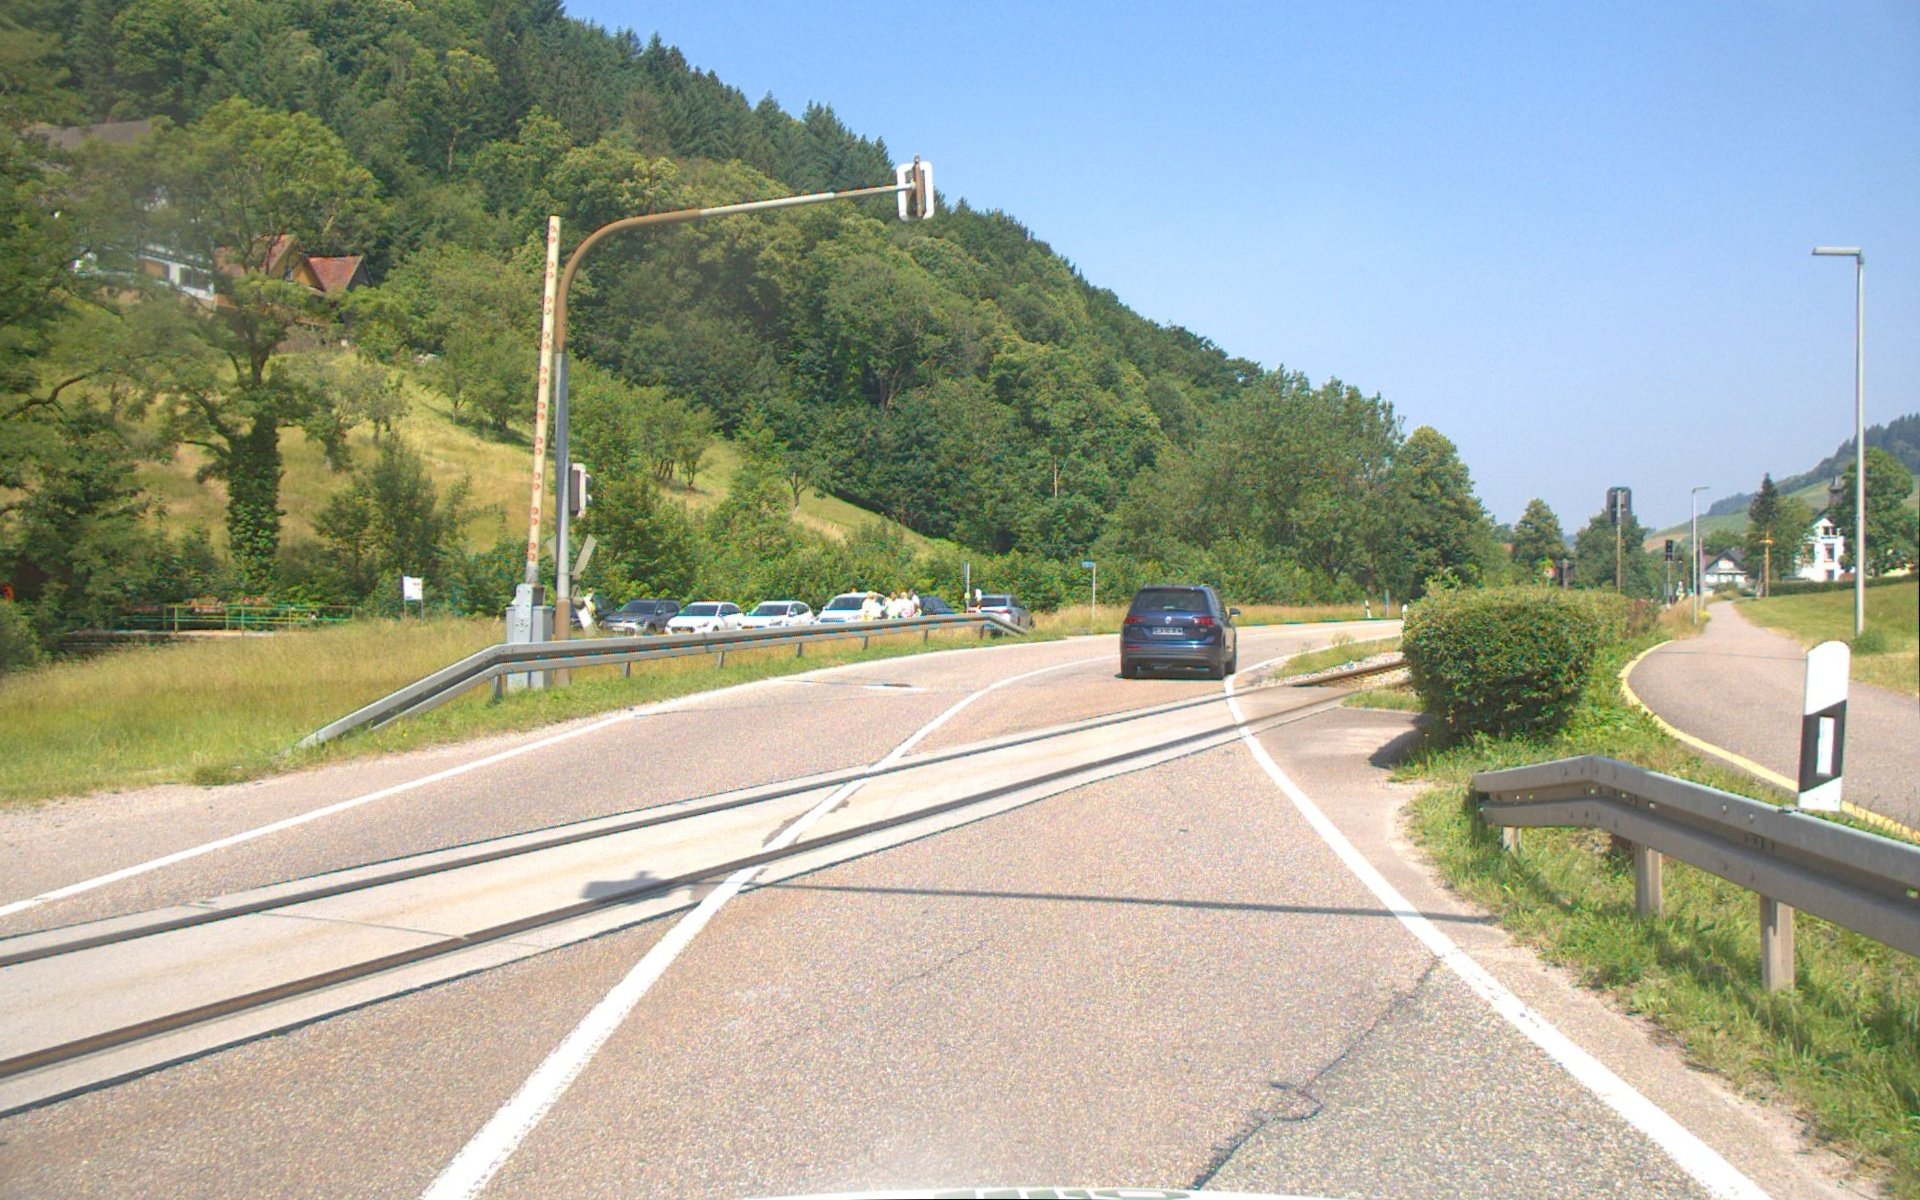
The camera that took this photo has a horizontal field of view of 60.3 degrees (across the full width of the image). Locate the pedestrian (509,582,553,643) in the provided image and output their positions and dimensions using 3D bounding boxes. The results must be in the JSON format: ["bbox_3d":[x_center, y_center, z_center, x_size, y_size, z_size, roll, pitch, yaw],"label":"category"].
[{"bbox_3d":[-14.402,0.423,55.550,1.105,2.004,0.860,-2,-1,30],"label":"pedestrian"}]

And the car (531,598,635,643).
[{"bbox_3d":[-13.772,0.716,60.725,1.951,1.527,4.525,-2,0,12],"label":"car"}]

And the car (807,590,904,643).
[{"bbox_3d":[-3.663,0.566,58.780,1.831,1.813,4.774,-1,0,17],"label":"car"}]

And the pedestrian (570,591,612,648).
[{"bbox_3d":[-11.982,0.623,53.718,0.933,1.826,1.001,-2,0,14],"label":"pedestrian"}]

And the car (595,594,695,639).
[{"bbox_3d":[-11.405,0.569,60.204,1.951,1.527,4.525,1,0,12],"label":"car"}]

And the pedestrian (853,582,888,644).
[{"bbox_3d":[-2.765,0.393,51.076,0.772,1.874,0.698,-2,0,25],"label":"pedestrian"}]

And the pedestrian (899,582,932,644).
[{"bbox_3d":[-1.392,0.399,51.609,0.764,1.891,0.639,-1,-1,-42],"label":"pedestrian"}]

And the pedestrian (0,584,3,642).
[{"bbox_3d":[-34.035,0.466,57.654,0.684,2.049,0.933,-2,-1,15],"label":"pedestrian"}]

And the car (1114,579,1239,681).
[{"bbox_3d":[3.952,0.481,29.651,1.813,1.678,4.143,1,0,13],"label":"car"}]

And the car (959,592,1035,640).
[{"bbox_3d":[1.308,0.535,56.271,1.787,1.527,4.281,-2,0,12],"label":"car"}]

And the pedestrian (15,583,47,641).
[{"bbox_3d":[-33.189,0.442,59.088,0.921,2.049,0.693,-1,-1,-33],"label":"pedestrian"}]

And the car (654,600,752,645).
[{"bbox_3d":[-9.145,0.780,59.339,1.951,1.527,4.525,-2,0,12],"label":"car"}]

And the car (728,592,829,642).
[{"bbox_3d":[-6.417,0.584,59.132,1.951,1.670,4.905,-2,0,14],"label":"car"}]

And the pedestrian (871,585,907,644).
[{"bbox_3d":[-2.220,0.460,51.861,0.757,1.827,0.789,-2,-1,41],"label":"pedestrian"}]

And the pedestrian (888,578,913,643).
[{"bbox_3d":[-1.849,0.313,51.157,0.646,1.989,0.533,-2,0,4],"label":"pedestrian"}]

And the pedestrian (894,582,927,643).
[{"bbox_3d":[-1.570,0.395,52.382,0.765,1.872,0.639,-1,-1,-43],"label":"pedestrian"}]
